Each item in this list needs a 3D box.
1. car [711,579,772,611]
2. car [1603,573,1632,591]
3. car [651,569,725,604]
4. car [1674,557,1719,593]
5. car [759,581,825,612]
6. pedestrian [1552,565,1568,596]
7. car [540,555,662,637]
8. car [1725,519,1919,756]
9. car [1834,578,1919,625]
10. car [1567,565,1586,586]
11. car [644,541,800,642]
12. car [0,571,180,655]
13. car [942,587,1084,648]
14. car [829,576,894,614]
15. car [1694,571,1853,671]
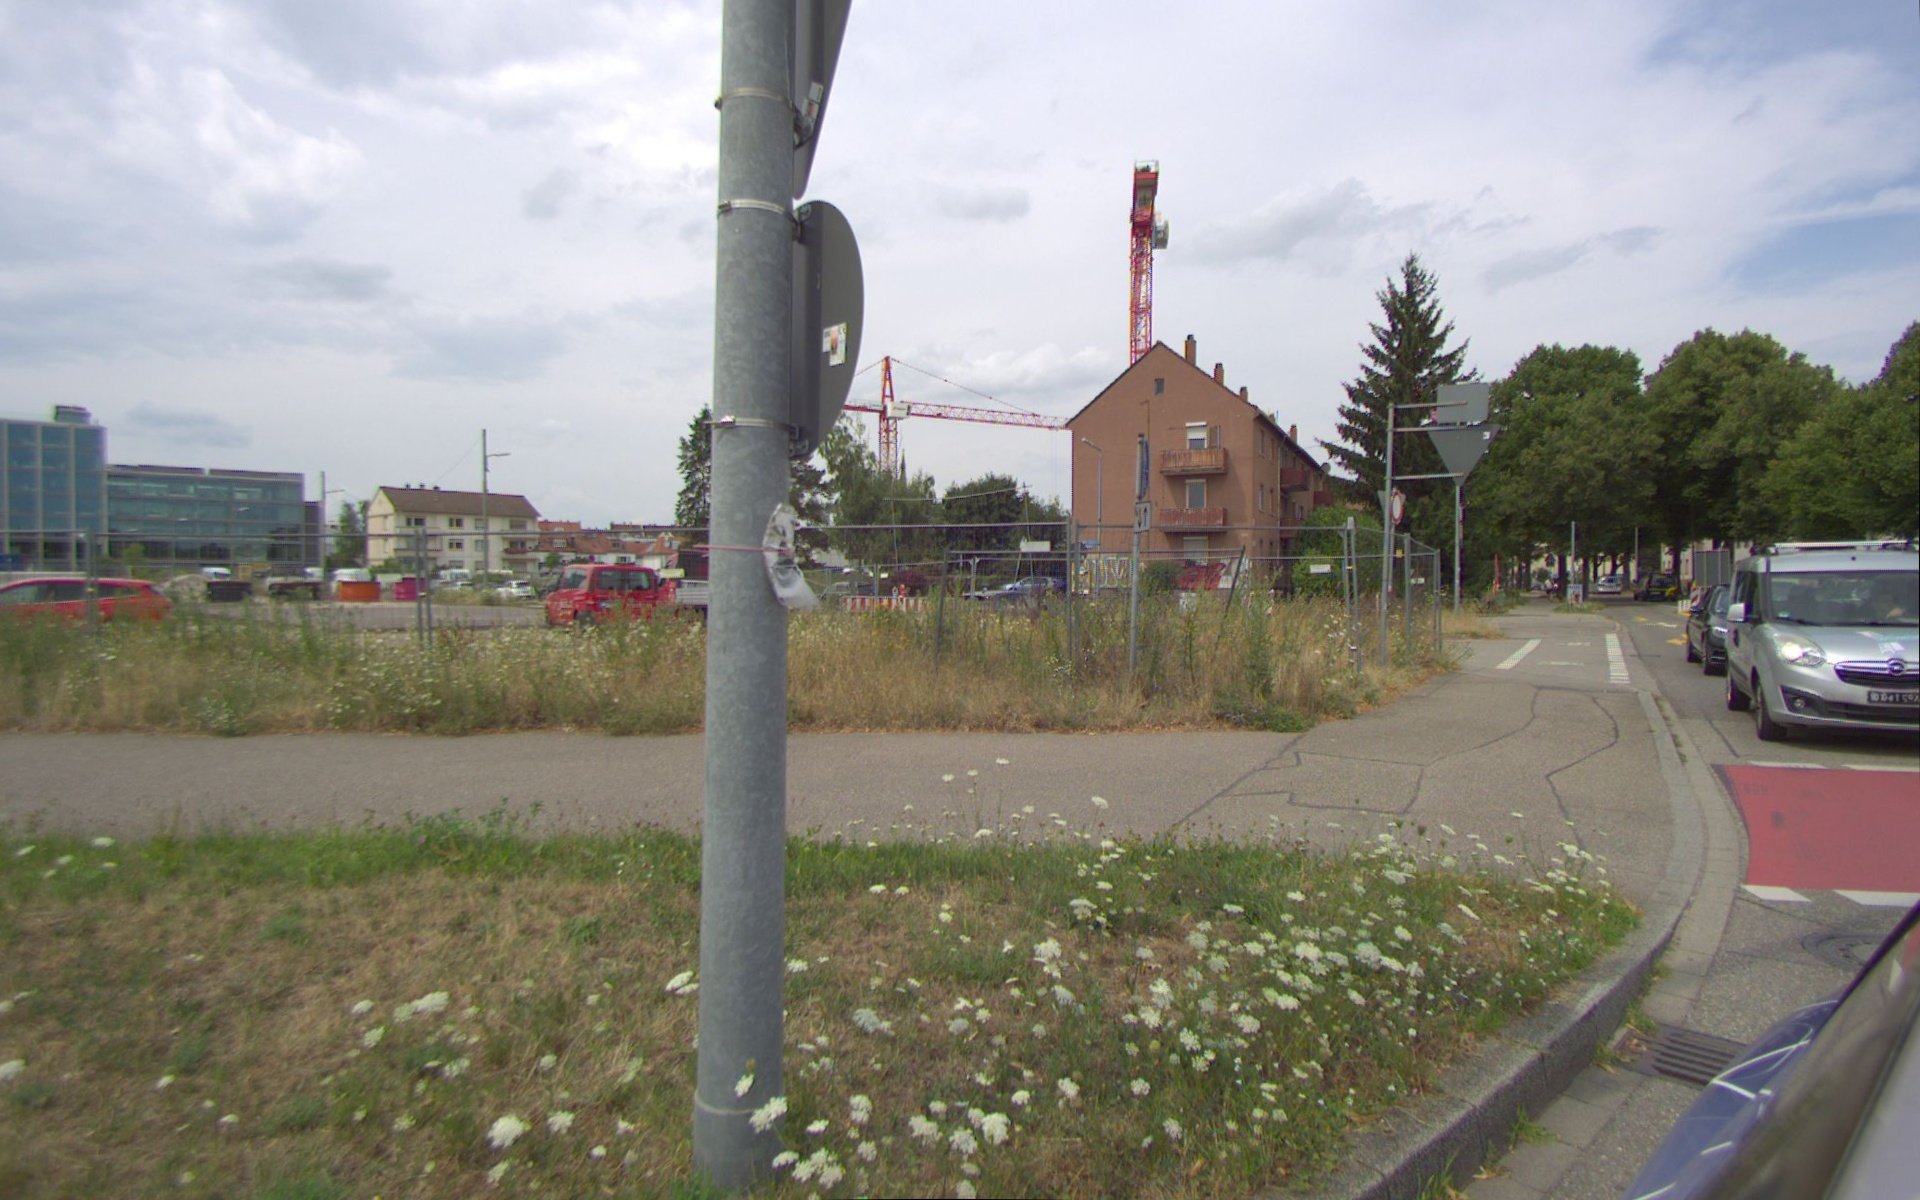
[{"bbox_3d":[-13.040,-0.329,60.256,1.826,1.771,4.006,-1,2,-42],"label":"car"},{"bbox_3d":[59.066,-1.624,90.976,1.785,1.643,4.701,1,1,28],"label":"car"},{"bbox_3d":[-17.258,-0.875,64.033,4.887,2.163,2.117,1,2,40],"label":"car"},{"bbox_3d":[49.641,-1.681,68.287,1.984,2.301,5.103,1,1,32],"label":"car"},{"bbox_3d":[-9.431,-0.233,56.662,1.771,1.622,4.006,-1,2,-42],"label":"car"},{"bbox_3d":[39.577,-1.306,66.725,0.850,2.039,0.723,1,1,35],"label":"pedestrian"},{"bbox_3d":[-9.508,-0.121,26.544,1.898,1.935,4.991,2,0,-32],"label":"car"},{"bbox_3d":[9.165,0.263,10.365,1.798,1.971,4.530,1,1,33],"label":"car"},{"bbox_3d":[31.819,0.013,34.906,1.614,1.538,4.178,1,1,28],"label":"car"},{"bbox_3d":[81.157,-3.259,133.169,2.055,2.719,5.904,0,1,32],"label":"car"},{"bbox_3d":[-6.728,-0.281,27.857,2.273,2.442,6.548,-1,1,-31],"label":"car"},{"bbox_3d":[-18.955,0.227,20.254,1.781,1.624,5.066,1,2,39],"label":"car"},{"bbox_3d":[1.519,0.412,27.723,1.759,1.492,4.199,1,2,40],"label":"car"},{"bbox_3d":[-5.213,-0.299,53.276,1.767,1.872,4.003,-1,1,-32],"label":"car"},{"bbox_3d":[14.219,0.293,17.933,1.806,1.523,4.809,0,1,34],"label":"car"}]
